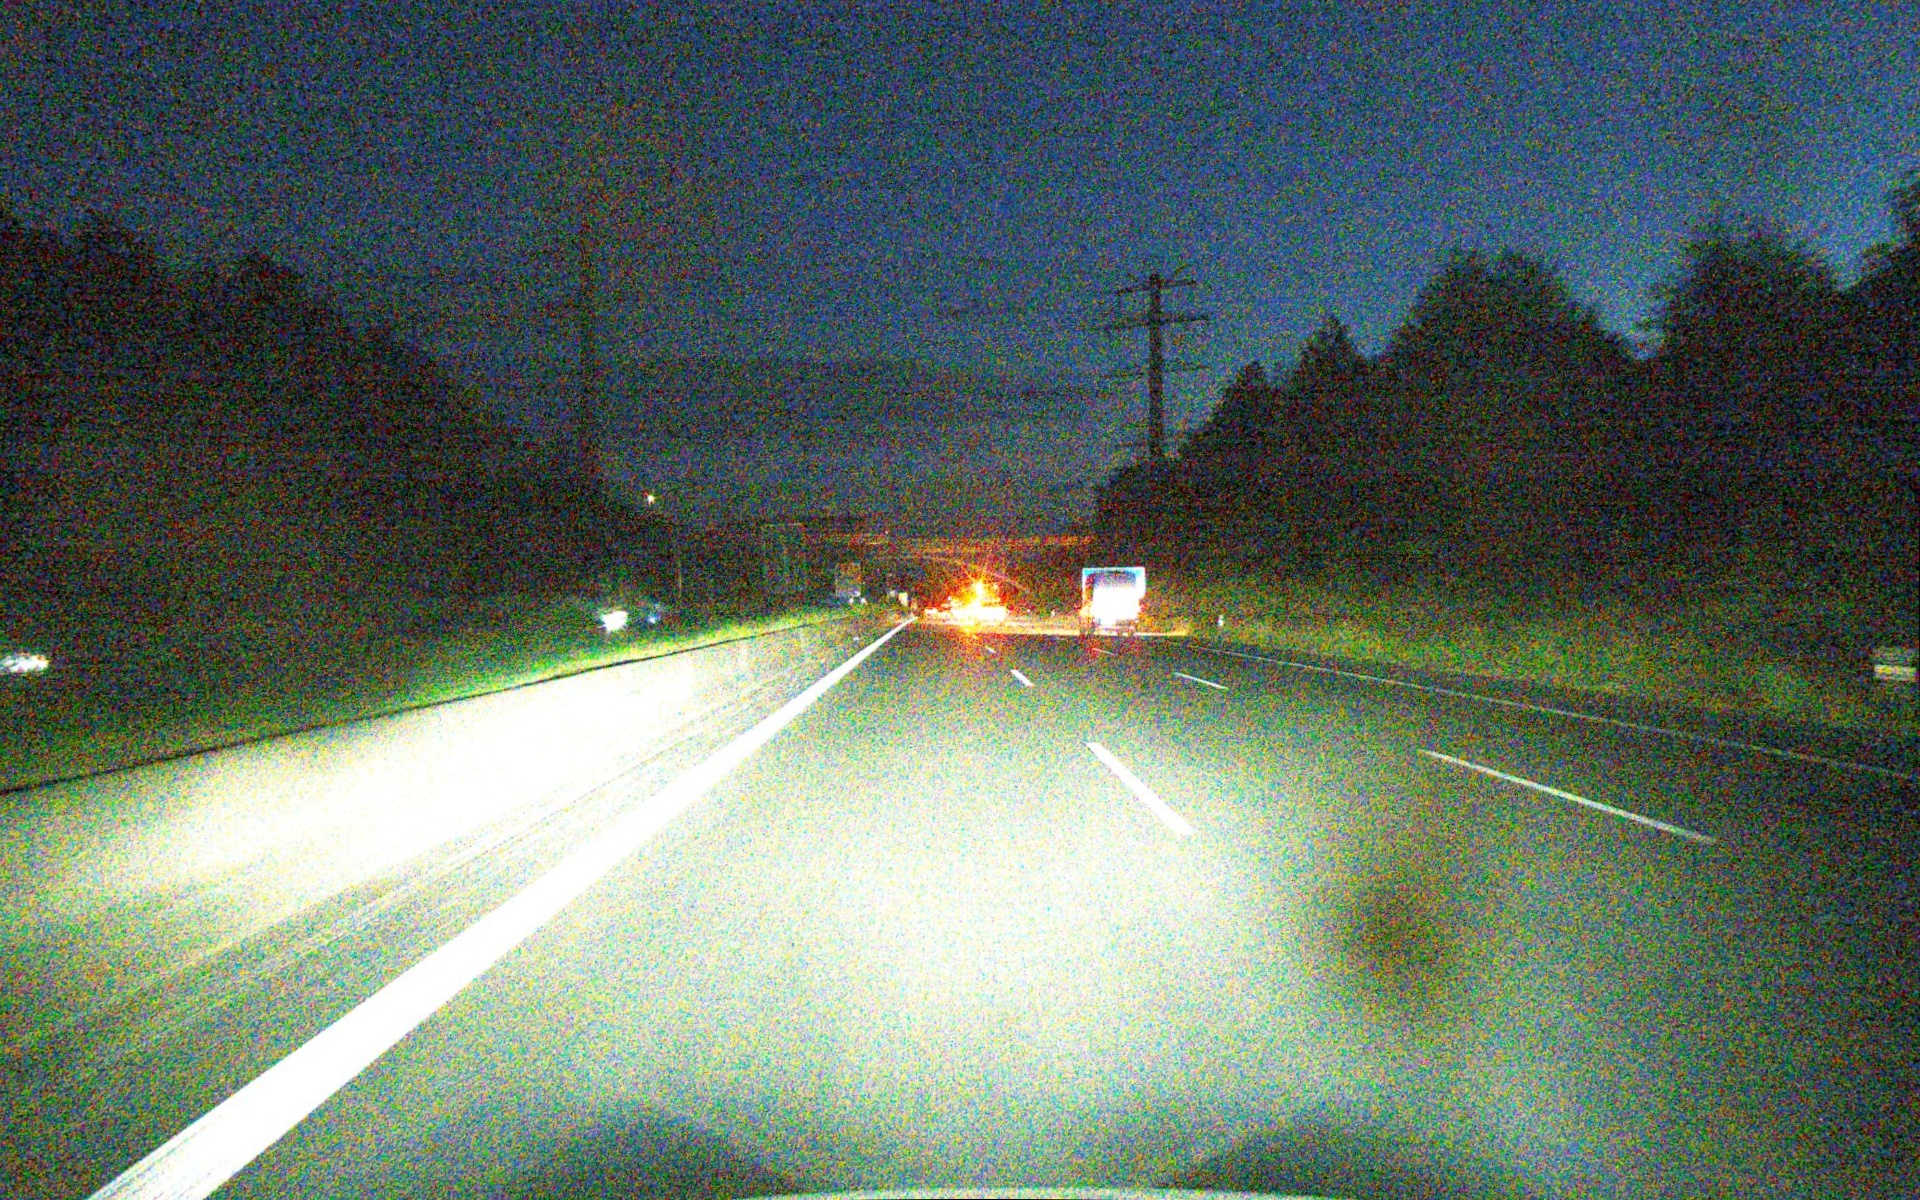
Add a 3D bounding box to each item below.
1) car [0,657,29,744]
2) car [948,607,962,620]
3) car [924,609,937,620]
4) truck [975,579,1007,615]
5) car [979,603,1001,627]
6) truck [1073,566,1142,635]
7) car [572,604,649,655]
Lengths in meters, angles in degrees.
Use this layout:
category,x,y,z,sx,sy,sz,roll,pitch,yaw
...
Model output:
category,x,y,z,sx,sy,sz,roll,pitch,yaw
car,-16.037,1.622,25.463,1.396,1.355,3.628,1,0,-1
car,-0.589,1.707,211.043,1.783,1.492,4.248,1,1,0
car,-4.120,2.026,233.194,1.783,1.492,4.248,1,1,0
truck,3.059,-0.380,165.292,2.982,3.382,10.141,1,1,0
car,1.852,0.907,103.600,1.318,1.411,3.501,1,1,0
truck,6.329,0.105,71.785,2.035,2.738,7.304,1,-2,-2
car,-12.480,1.069,59.353,1.756,1.713,5.167,1,-2,-1
